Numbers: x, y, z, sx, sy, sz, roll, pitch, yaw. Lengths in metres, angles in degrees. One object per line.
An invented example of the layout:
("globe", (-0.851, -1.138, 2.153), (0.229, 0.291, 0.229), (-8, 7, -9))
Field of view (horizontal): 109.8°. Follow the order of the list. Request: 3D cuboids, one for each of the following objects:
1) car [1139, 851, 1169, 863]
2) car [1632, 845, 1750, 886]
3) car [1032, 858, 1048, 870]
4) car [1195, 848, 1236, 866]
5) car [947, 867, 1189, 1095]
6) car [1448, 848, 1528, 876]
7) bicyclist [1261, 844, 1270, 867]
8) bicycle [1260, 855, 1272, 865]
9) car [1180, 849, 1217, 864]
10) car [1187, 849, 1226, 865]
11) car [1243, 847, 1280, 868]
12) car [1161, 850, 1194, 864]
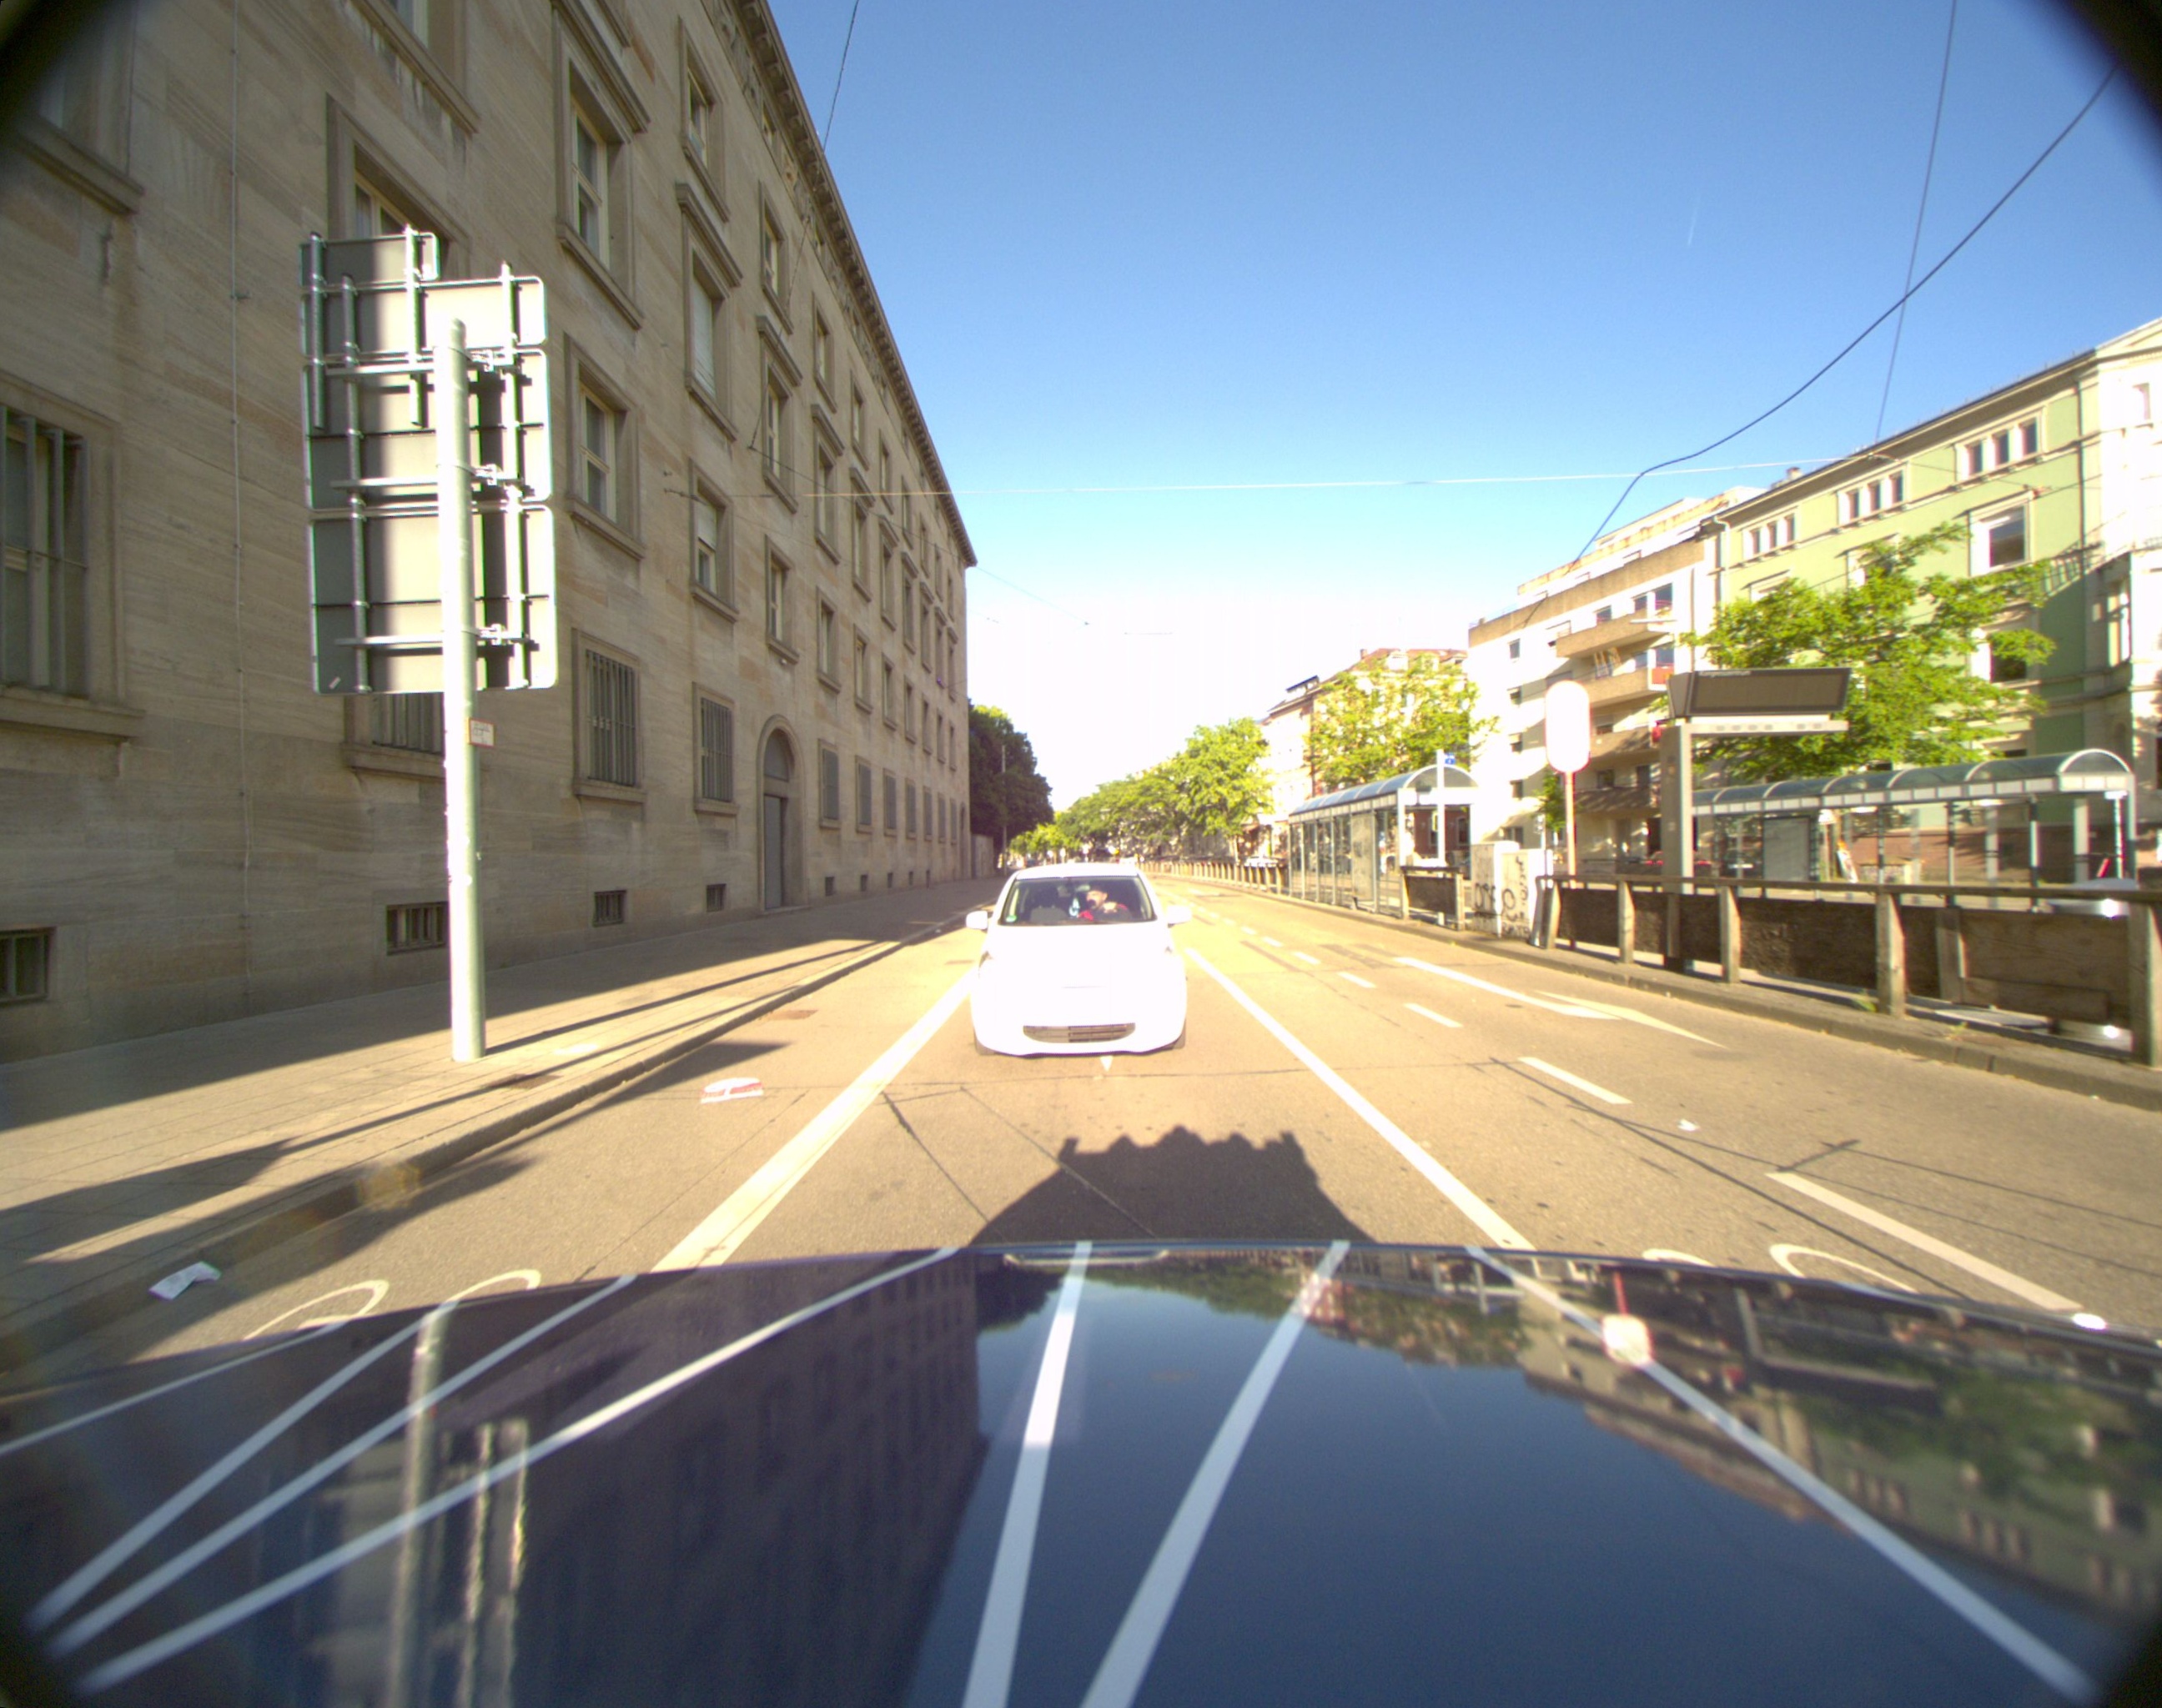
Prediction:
("car", (9.724, 0.371, 101.138), (3.864, 1.583, 2.001), (-1, 0, 4))
("car", (24.029, 0.420, 29.958), (3.796, 1.526, 1.772), (-1, 0, -17))
("car", (-6.483, 1.544, 119.608), (2.000, 1.761, 3.997), (-1, 0, -9))
("car", (13.776, 0.307, 78.011), (3.996, 1.674, 2.001), (-1, 0, 4))
("car", (-0.061, 0.892, 6.966), (1.612, 1.450, 3.668), (-1, 0, 1))
("car", (20.949, 0.390, 39.245), (1.615, 1.387, 3.516), (-1, 0, -19))
("bicyclist", (14.766, 0.123, 60.805), (0.536, 1.751, 0.770), (-1, 2, 1))
("bicycle", (14.770, 0.467, 60.816), (0.536, 0.783, 1.852), (-1, 2, 1))
("car", (13.304, 0.286, 85.949), (3.996, 1.674, 2.001), (-1, 0, 4))
("car", (13.493, 0.304, 82.145), (3.996, 1.674, 2.001), (-1, 0, 4))
("car", (16.435, 0.319, 69.093), (1.994, 1.713, 4.007), (0, 2, 35))
("car", (11.587, 0.360, 91.511), (3.864, 1.583, 2.001), (-1, 0, 5))
